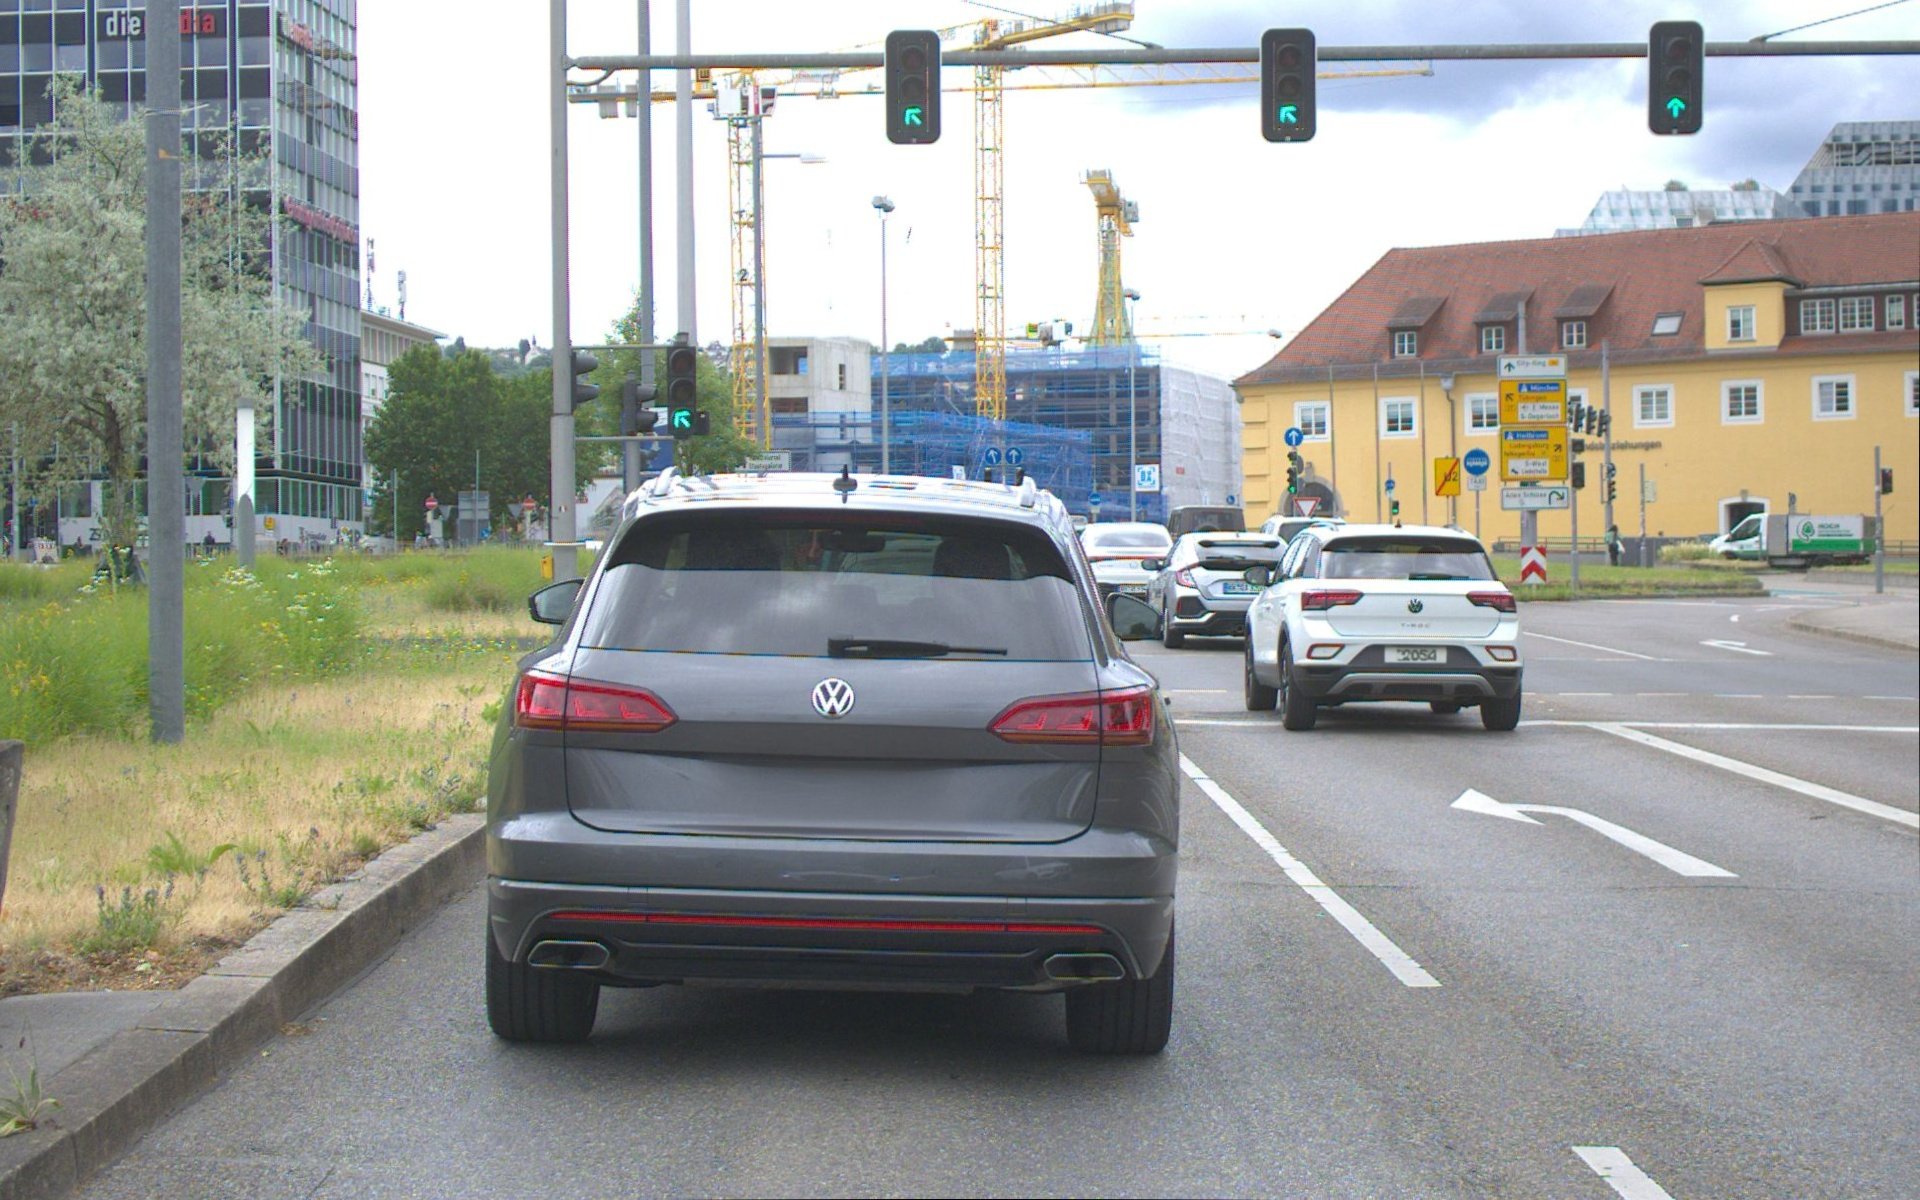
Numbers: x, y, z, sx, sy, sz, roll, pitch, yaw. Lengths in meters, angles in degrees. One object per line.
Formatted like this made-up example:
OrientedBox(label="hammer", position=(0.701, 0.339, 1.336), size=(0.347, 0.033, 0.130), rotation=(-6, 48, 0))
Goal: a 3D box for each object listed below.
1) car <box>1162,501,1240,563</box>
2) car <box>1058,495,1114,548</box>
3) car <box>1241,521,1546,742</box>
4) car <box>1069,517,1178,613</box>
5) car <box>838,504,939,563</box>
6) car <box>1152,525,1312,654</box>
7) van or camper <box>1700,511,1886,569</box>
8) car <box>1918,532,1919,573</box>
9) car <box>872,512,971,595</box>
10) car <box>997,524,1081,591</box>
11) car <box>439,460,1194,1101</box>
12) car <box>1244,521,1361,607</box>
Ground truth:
OrientedBox(label="car", position=(5.961, -1.705, 85.291), size=(1.719, 1.497, 3.981), rotation=(0, 2, 1))
OrientedBox(label="car", position=(4.830, -3.035, 132.592), size=(1.993, 2.006, 4.000), rotation=(0, 2, 0))
OrientedBox(label="car", position=(3.318, 0.189, 26.973), size=(1.893, 1.580, 3.801), rotation=(0, 2, 0))
OrientedBox(label="car", position=(2.707, -0.603, 56.642), size=(1.719, 1.497, 3.981), rotation=(0, 2, 3))
OrientedBox(label="car", position=(-1.917, -1.772, 90.328), size=(2.244, 1.497, 4.612), rotation=(0, 2, -6))
OrientedBox(label="car", position=(3.336, -0.171, 42.849), size=(1.719, 1.497, 4.144), rotation=(0, 2, 1))
OrientedBox(label="van or camper", position=(29.153, -2.104, 120.440), size=(6.017, 2.007, 2.015), rotation=(1, 1, 36))
OrientedBox(label="car", position=(35.010, -1.608, 116.460), size=(4.686, 1.415, 1.594), rotation=(1, 1, 32))
OrientedBox(label="car", position=(-0.719, -0.895, 64.831), size=(1.814, 1.491, 3.907), rotation=(0, 2, 0))
OrientedBox(label="car", position=(2.070, -1.140, 91.319), size=(2.139, 1.722, 4.070), rotation=(0, 1, 0))
OrientedBox(label="car", position=(-0.383, 0.408, 10.832), size=(1.933, 1.641, 4.000), rotation=(0, 2, 0))
OrientedBox(label="car", position=(6.272, -0.684, 63.256), size=(1.803, 1.497, 3.981), rotation=(0, 2, 1))
